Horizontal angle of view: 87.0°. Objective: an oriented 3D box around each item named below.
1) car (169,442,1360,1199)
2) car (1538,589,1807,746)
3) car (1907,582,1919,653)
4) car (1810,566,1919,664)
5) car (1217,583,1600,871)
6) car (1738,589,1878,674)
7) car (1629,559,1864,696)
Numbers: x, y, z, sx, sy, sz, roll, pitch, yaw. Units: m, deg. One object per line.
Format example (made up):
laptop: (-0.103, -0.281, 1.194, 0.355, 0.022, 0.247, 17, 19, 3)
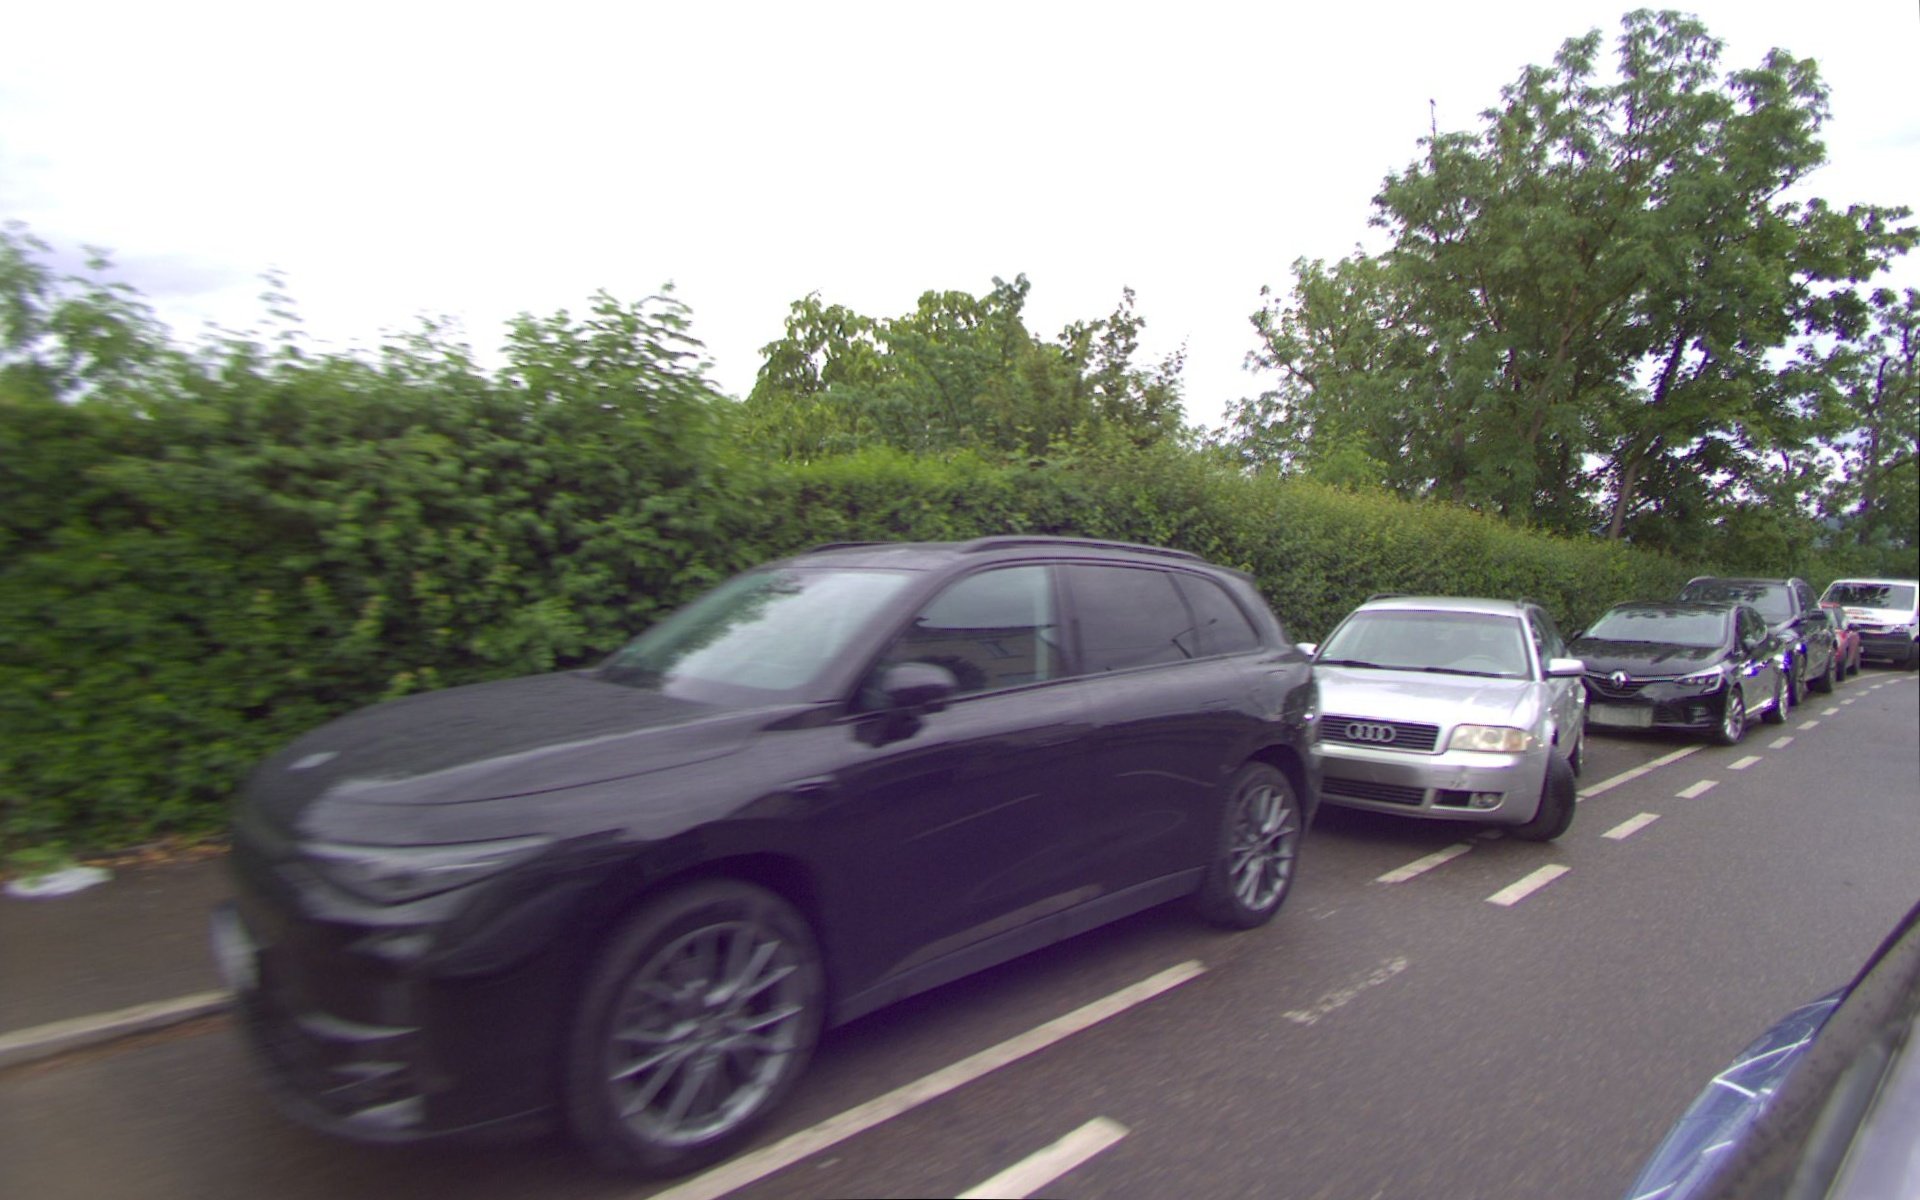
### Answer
car: (-0.293, 0.540, 4.120, 4.472, 1.684, 1.889, 0, 0, -44)
car: (8.259, 0.627, 11.606, 3.915, 1.439, 1.691, -1, 2, -42)
car: (26.354, 0.508, 25.754, 4.288, 1.792, 1.869, 1, 1, -26)
car: (21.319, 0.318, 22.960, 4.716, 1.972, 1.867, 1, 3, -35)
car: (3.616, 0.634, 7.579, 1.793, 1.458, 4.584, 1, 1, 35)
car: (16.495, 0.552, 19.625, 3.680, 1.431, 1.673, 0, 2, -44)
car: (12.321, 0.354, 15.734, 4.814, 1.805, 2.030, 1, 1, -42)
